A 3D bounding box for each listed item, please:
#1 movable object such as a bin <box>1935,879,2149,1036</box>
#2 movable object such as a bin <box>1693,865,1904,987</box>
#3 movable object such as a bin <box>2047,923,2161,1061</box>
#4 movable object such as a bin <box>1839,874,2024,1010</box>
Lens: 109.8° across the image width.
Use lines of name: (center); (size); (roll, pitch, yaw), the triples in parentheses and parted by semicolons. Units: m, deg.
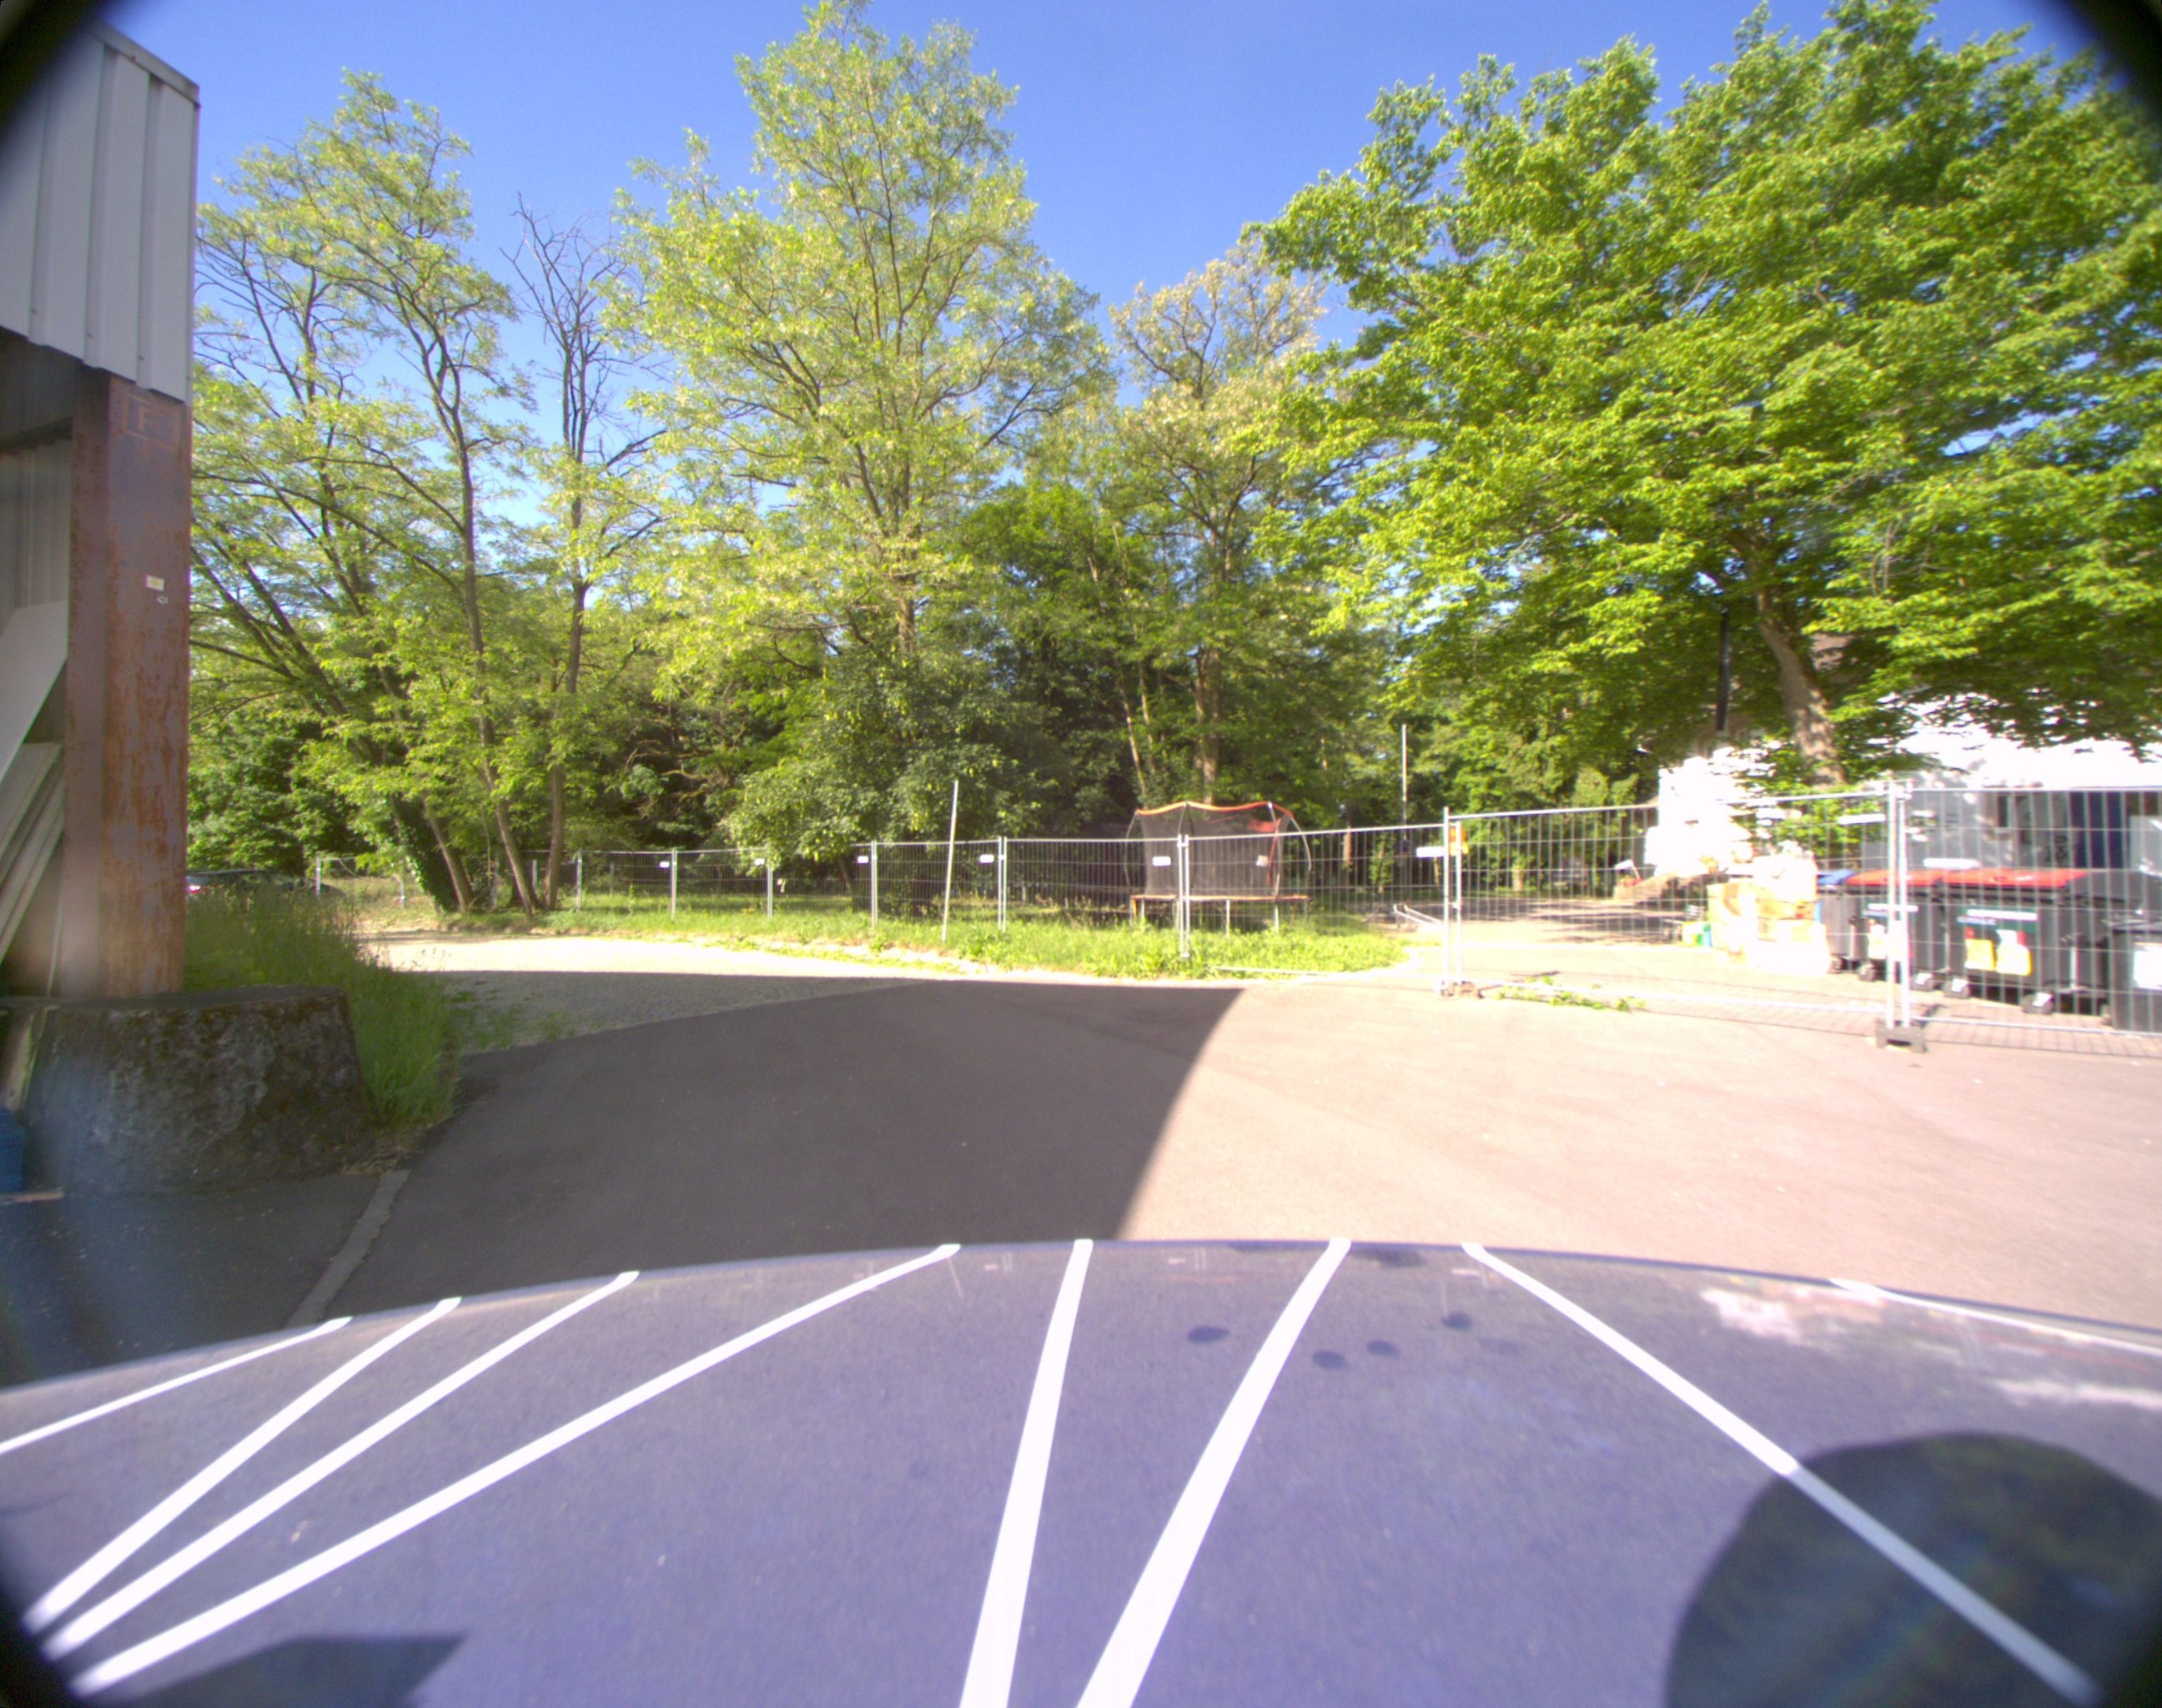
movable object such as a bin: (9.698, 0.985, 7.745); (0.701, 1.436, 1.250); (0, -1, 11)
movable object such as a bin: (10.336, 0.957, 11.125); (1.172, 1.581, 2.298); (0, -1, 10)
movable object such as a bin: (9.290, 1.182, 6.613); (0.817, 1.091, 0.740); (0, -1, 20)
movable object such as a bin: (10.038, 0.979, 9.046); (0.805, 1.475, 1.343); (0, -1, 10)
